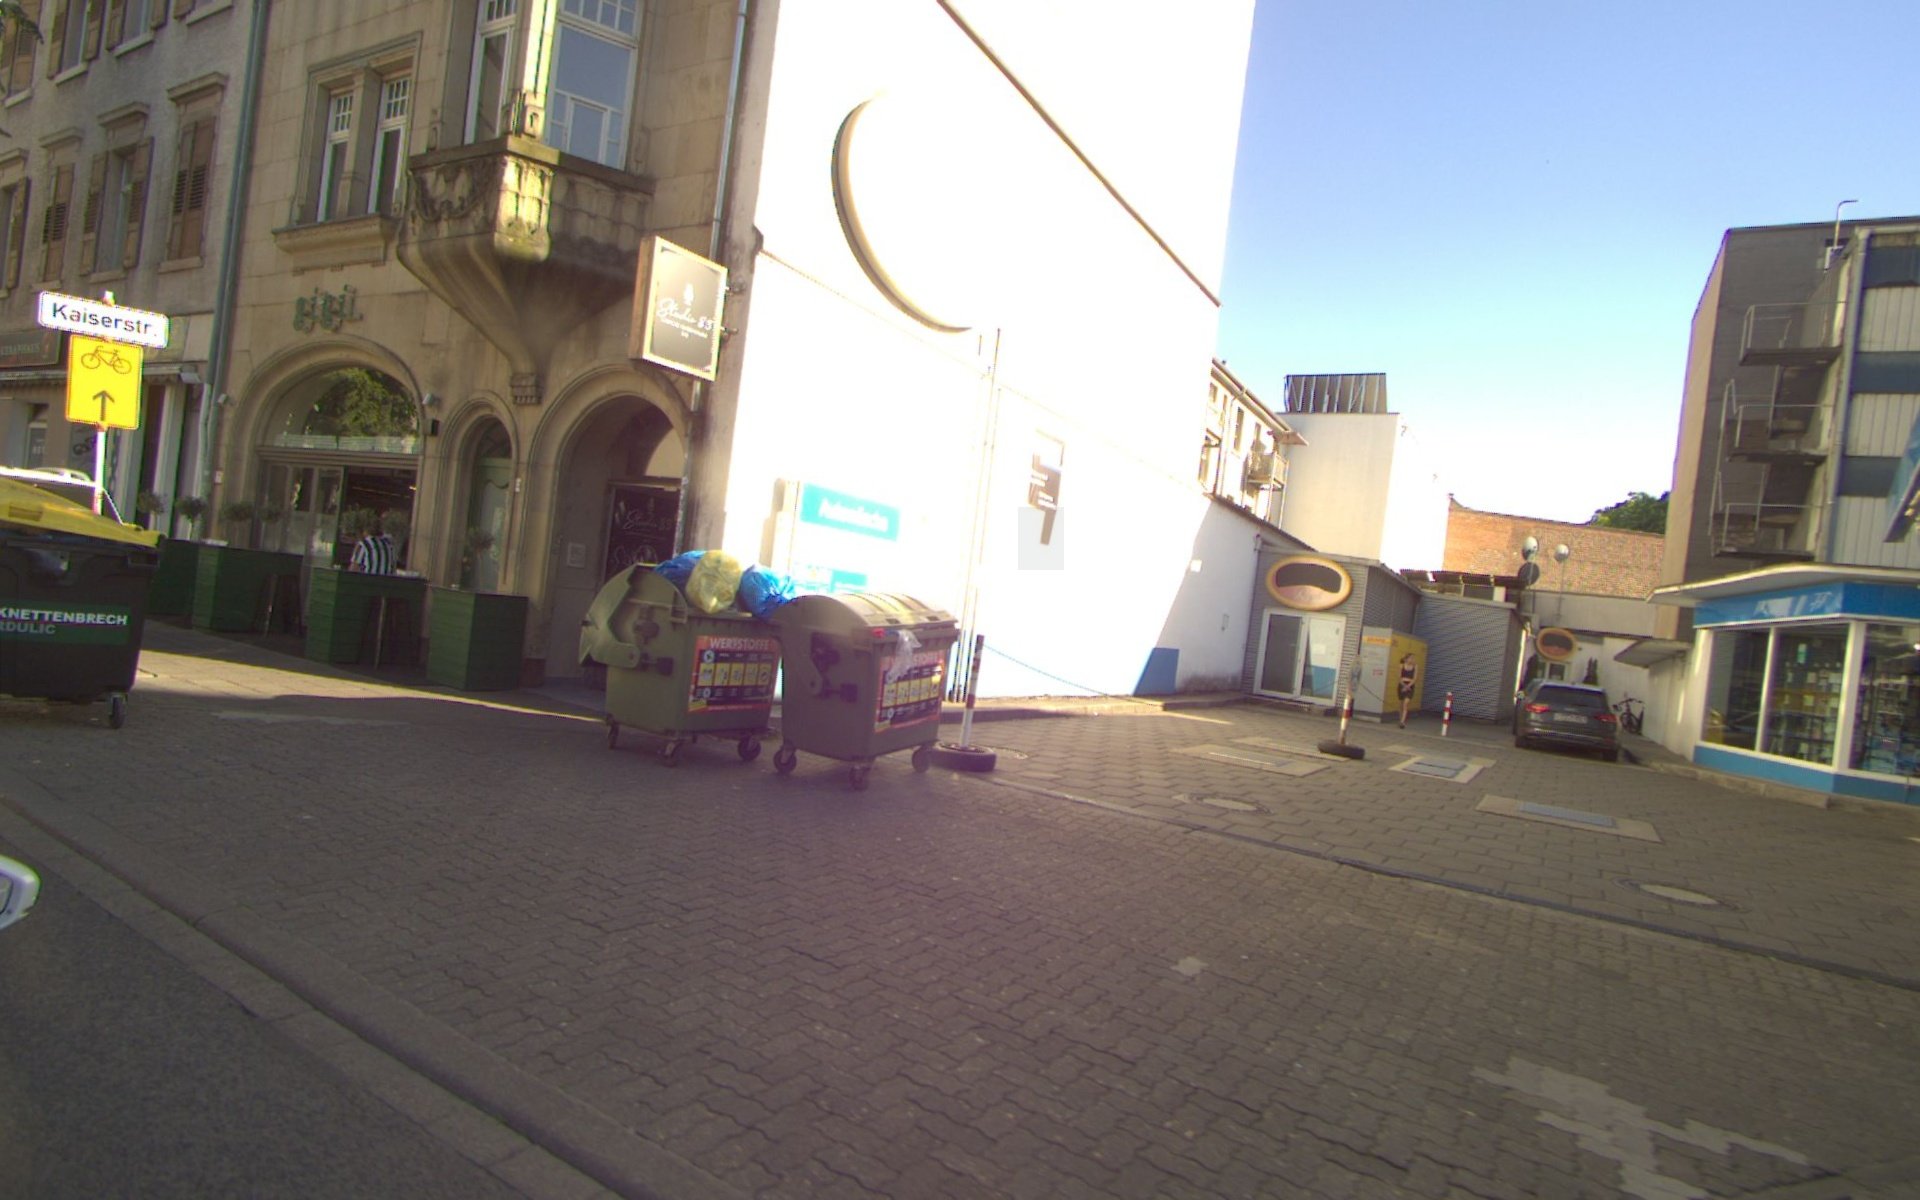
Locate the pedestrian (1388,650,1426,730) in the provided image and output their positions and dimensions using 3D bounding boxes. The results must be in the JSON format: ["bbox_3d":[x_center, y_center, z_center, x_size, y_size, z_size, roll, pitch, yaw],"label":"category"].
[{"bbox_3d":[9.836,1.969,22.154,0.536,1.657,0.547,7,1,22],"label":"pedestrian"}]

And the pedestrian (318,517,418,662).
[{"bbox_3d":[-6.792,-0.109,11.546,0.688,1.560,0.611,7,1,32],"label":"pedestrian"}]

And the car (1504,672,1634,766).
[{"bbox_3d":[12.686,2.390,20.863,1.968,1.482,3.989,7,0,34],"label":"car"}]

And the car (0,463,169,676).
[{"bbox_3d":[-9.444,-0.463,9.381,4.525,1.701,1.822,7,2,33],"label":"car"}]

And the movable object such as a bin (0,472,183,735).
[{"bbox_3d":[-6.138,-0.016,6.707,1.438,1.581,1.141,7,1,40],"label":"movable object such as a bin"}]

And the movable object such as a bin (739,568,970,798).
[{"bbox_3d":[-0.815,0.626,8.028,1.157,1.549,1.272,7,1,30],"label":"movable object such as a bin"}]

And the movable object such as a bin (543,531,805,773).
[{"bbox_3d":[-2.296,0.392,8.138,1.473,1.648,1.207,7,1,30],"label":"movable object such as a bin"}]

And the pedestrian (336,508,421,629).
[{"bbox_3d":[-8.096,-0.431,14.025,0.602,1.586,0.697,7,1,31],"label":"pedestrian"}]

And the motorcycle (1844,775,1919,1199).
[{"bbox_3d":[2.705,1.172,1.805,0.895,1.346,1.984,7,0,20],"label":"motorcycle"}]

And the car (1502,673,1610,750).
[{"bbox_3d":[14.820,2.702,24.927,1.968,1.482,3.989,7,0,34],"label":"car"}]
